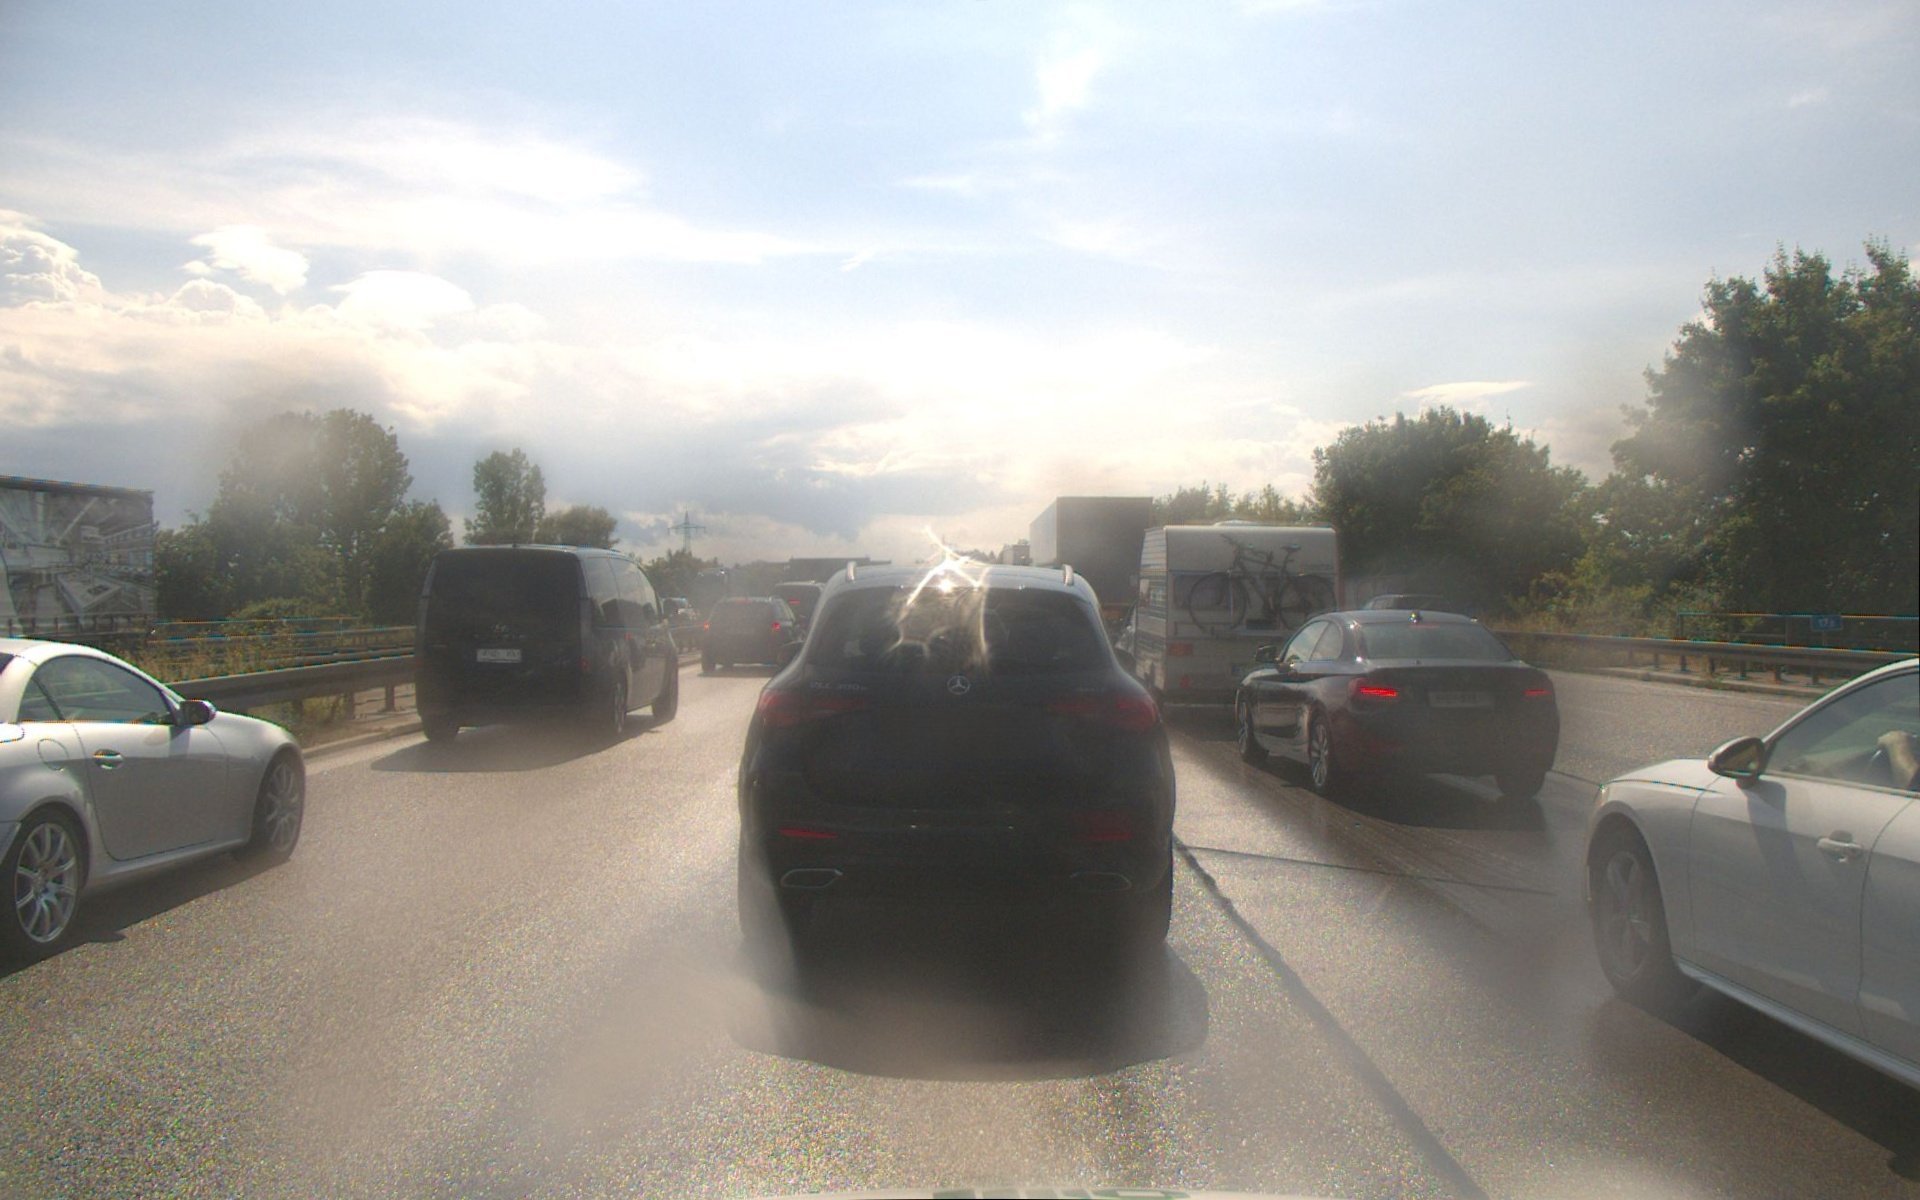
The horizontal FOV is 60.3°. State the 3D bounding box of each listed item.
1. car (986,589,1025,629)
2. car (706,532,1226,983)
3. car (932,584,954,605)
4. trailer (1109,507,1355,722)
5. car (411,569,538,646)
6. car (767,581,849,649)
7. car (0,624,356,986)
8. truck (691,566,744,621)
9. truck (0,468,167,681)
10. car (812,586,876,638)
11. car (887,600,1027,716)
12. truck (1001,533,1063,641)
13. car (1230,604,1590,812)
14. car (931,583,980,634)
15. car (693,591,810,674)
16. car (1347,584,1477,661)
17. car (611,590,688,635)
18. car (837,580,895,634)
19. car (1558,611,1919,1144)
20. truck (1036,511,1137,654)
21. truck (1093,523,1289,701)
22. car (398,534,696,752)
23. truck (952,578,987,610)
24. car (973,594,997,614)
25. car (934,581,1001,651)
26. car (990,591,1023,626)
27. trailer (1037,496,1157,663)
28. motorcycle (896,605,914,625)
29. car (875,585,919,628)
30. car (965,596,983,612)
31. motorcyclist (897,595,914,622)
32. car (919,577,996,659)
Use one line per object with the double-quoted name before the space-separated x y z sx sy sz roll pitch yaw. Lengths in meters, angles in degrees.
"car" 2.423 0.452 89.120 1.952 2.049 4.000 2 0 1
"car" 0.029 0.601 8.449 1.953 1.690 4.405 0 0 0
"car" -1.555 -0.489 151.428 1.838 1.791 3.998 1 0 -3
"trailer" 3.545 0.181 22.995 2.325 2.526 6.522 1 0 0
"car" -15.177 0.192 52.147 1.953 2.247 6.979 1 1 0
"car" -4.154 0.397 45.809 1.953 1.750 3.999 1 0 -1
"car" -4.467 0.801 7.872 1.689 1.300 4.063 0 0 0
"truck" -19.150 -0.462 130.953 2.943 4.175 7.686 -1 0 0
"truck" -19.073 -0.457 32.097 2.790 3.920 9.421 0 -1 0
"car" -4.189 0.434 60.101 1.952 1.803 4.000 -1 0 1
"car" 0.006 0.714 22.295 1.721 1.411 3.945 0 0 1
"truck" 3.371 -0.588 79.162 2.451 4.914 7.541 1 0 -1
"car" 3.619 0.788 14.149 1.811 1.490 4.254 0 0 -2
"car" -0.164 0.349 68.389 1.952 2.049 4.000 0 0 1
"car" -4.095 0.602 33.079 1.721 1.543 4.209 0 0 1
"car" 10.328 0.480 38.092 1.783 1.649 4.363 1 0 0
"car" -11.031 0.440 59.044 1.953 1.485 4.097 2 0 0
"car" -3.860 0.291 68.535 1.953 2.048 4.000 4 0 1
"car" 3.522 0.796 4.798 1.790 1.450 4.509 2 -1 -2
"truck" 3.919 -0.525 52.218 2.933 4.239 5.241 1 0 2
"truck" 3.547 0.180 26.605 2.325 2.520 5.756 1 0 0
"car" -4.321 0.399 18.261 1.953 2.049 5.269 0 0 0
"truck" 1.204 -0.735 217.446 3.767 4.087 11.212 1 0 -4
"car" 2.251 0.360 149.757 1.838 1.791 3.998 1 0 -3
"car" 0.268 0.491 52.953 1.953 2.048 4.000 4 0 1
"car" 2.924 0.504 105.062 1.953 2.048 4.000 4 0 1
"trailer" 3.710 -0.523 46.665 2.944 4.239 8.538 1 0 2
"motorcycle" -3.580 0.976 108.293 1.052 1.293 2.690 0 0 0
"car" -3.123 0.315 82.674 1.952 2.049 4.000 1 0 1
"car" 1.594 0.415 190.081 1.838 1.791 3.998 1 0 -3
"motorcyclist" -3.574 0.581 108.293 1.042 1.748 0.785 1 0 1
"car" -0.038 0.462 44.479 1.952 2.049 4.000 1 0 1
